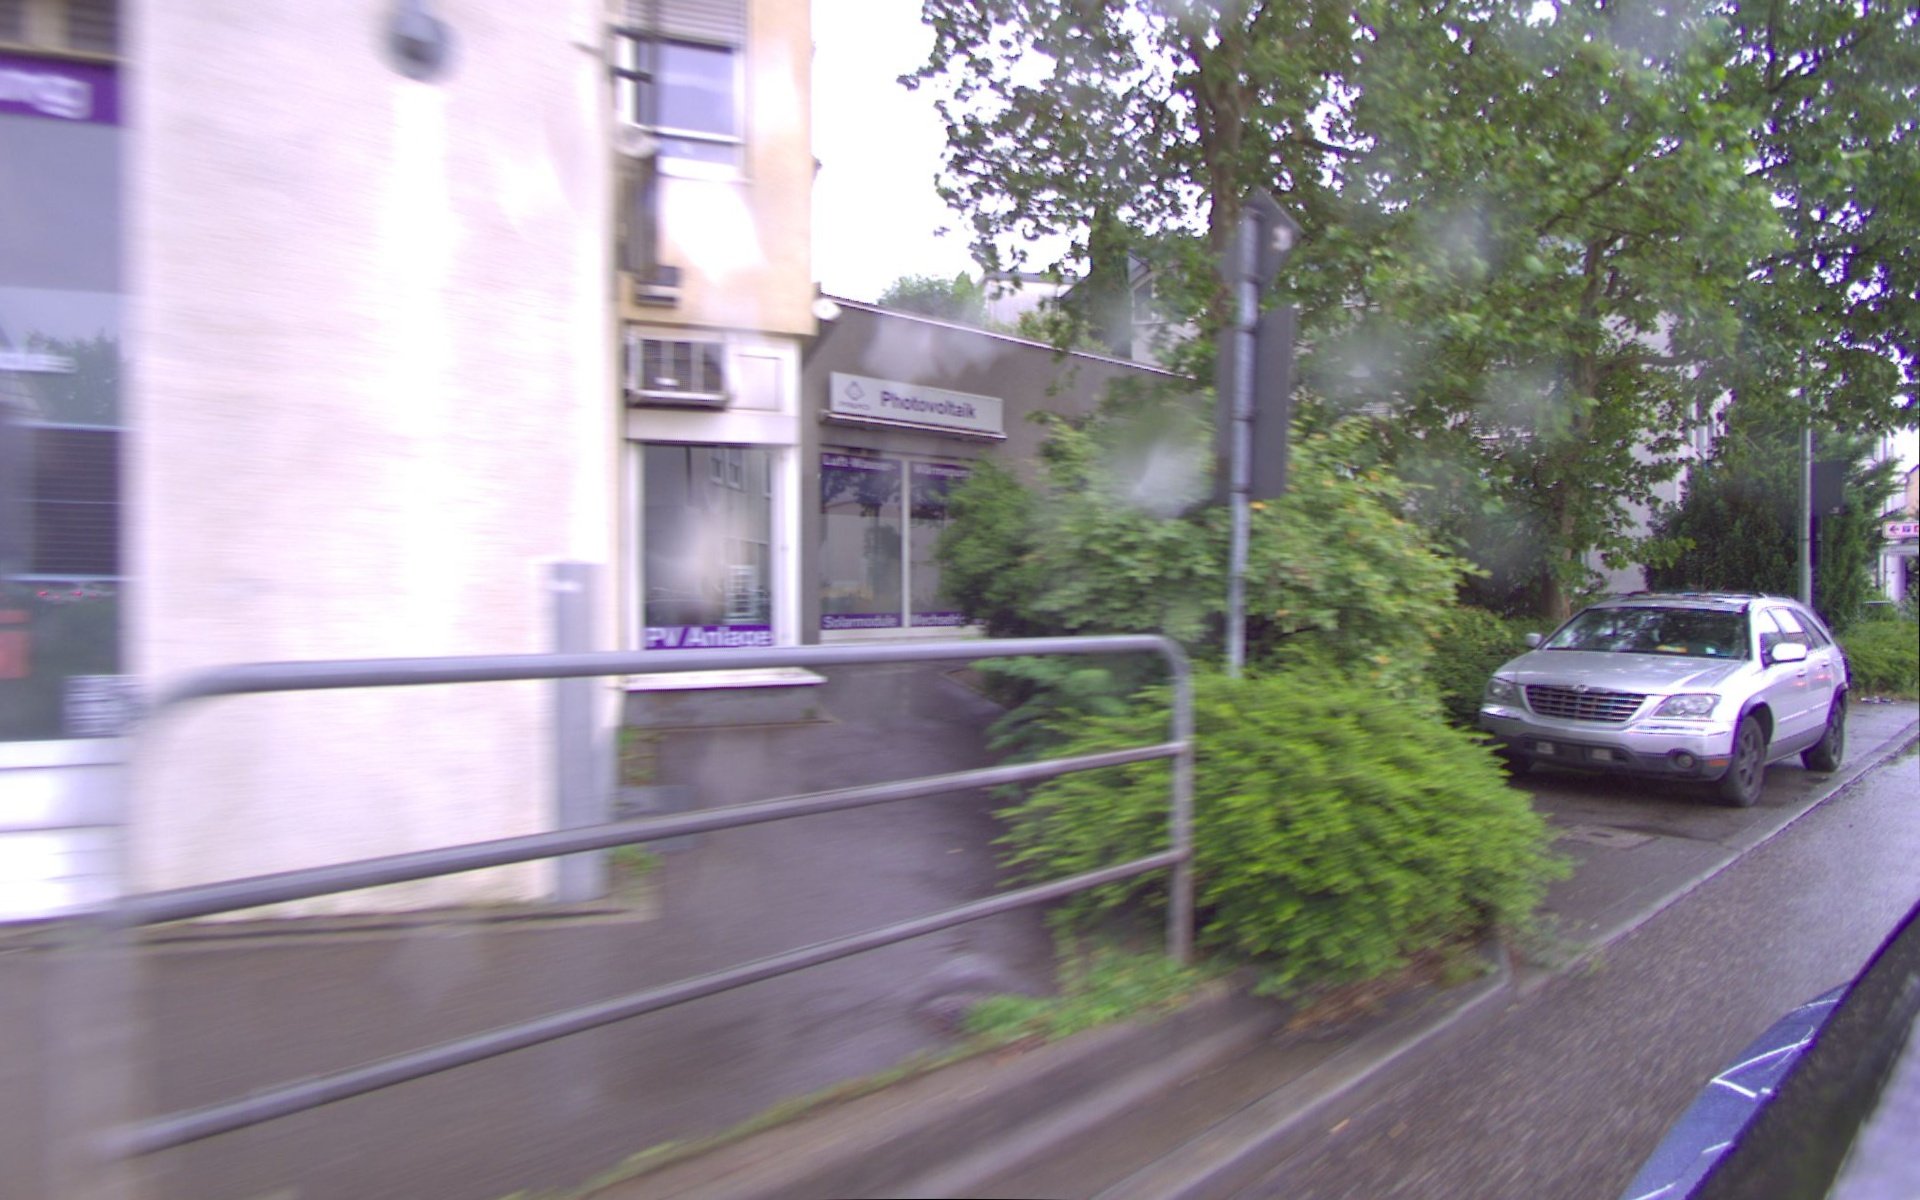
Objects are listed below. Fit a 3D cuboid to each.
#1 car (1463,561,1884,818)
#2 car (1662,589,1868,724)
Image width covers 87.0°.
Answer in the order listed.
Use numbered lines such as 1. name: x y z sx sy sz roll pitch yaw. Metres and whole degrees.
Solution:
1. car: 6.706 0.621 9.311 4.647 1.803 1.935 1 1 -39
2. car: 11.263 0.680 14.067 3.849 1.592 1.711 0 1 -43
